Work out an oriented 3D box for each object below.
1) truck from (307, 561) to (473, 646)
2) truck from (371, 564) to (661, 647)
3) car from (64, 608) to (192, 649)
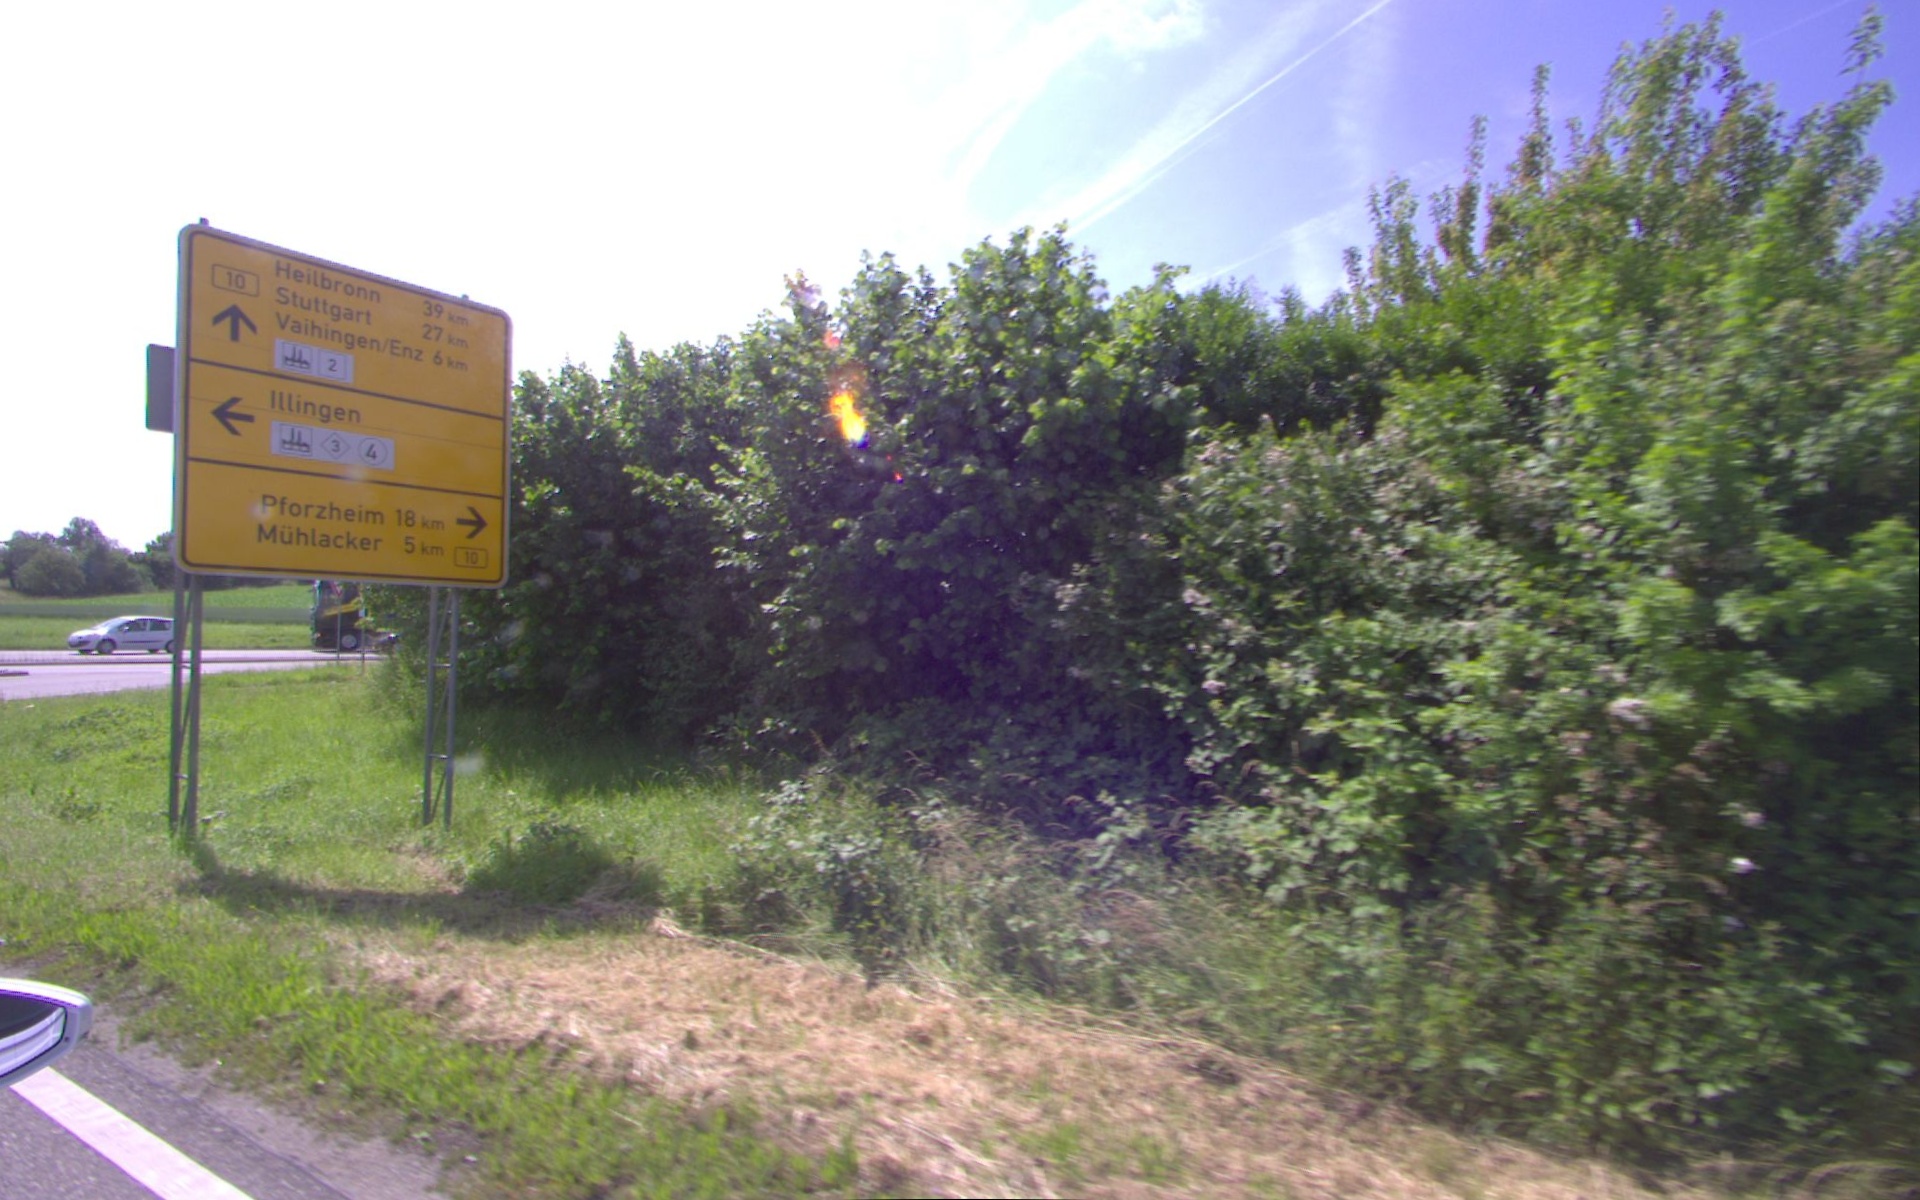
[{"bbox_3d":[-28.784,0.273,50.696,6.874,4.046,3.003,2,-1,-39],"label":"truck"},{"bbox_3d":[-23.772,0.485,54.650,14.161,4.031,3.004,2,-1,-38],"label":"truck"},{"bbox_3d":[-35.403,1.218,42.711,1.733,1.654,3.827,-1,-2,26],"label":"car"}]
